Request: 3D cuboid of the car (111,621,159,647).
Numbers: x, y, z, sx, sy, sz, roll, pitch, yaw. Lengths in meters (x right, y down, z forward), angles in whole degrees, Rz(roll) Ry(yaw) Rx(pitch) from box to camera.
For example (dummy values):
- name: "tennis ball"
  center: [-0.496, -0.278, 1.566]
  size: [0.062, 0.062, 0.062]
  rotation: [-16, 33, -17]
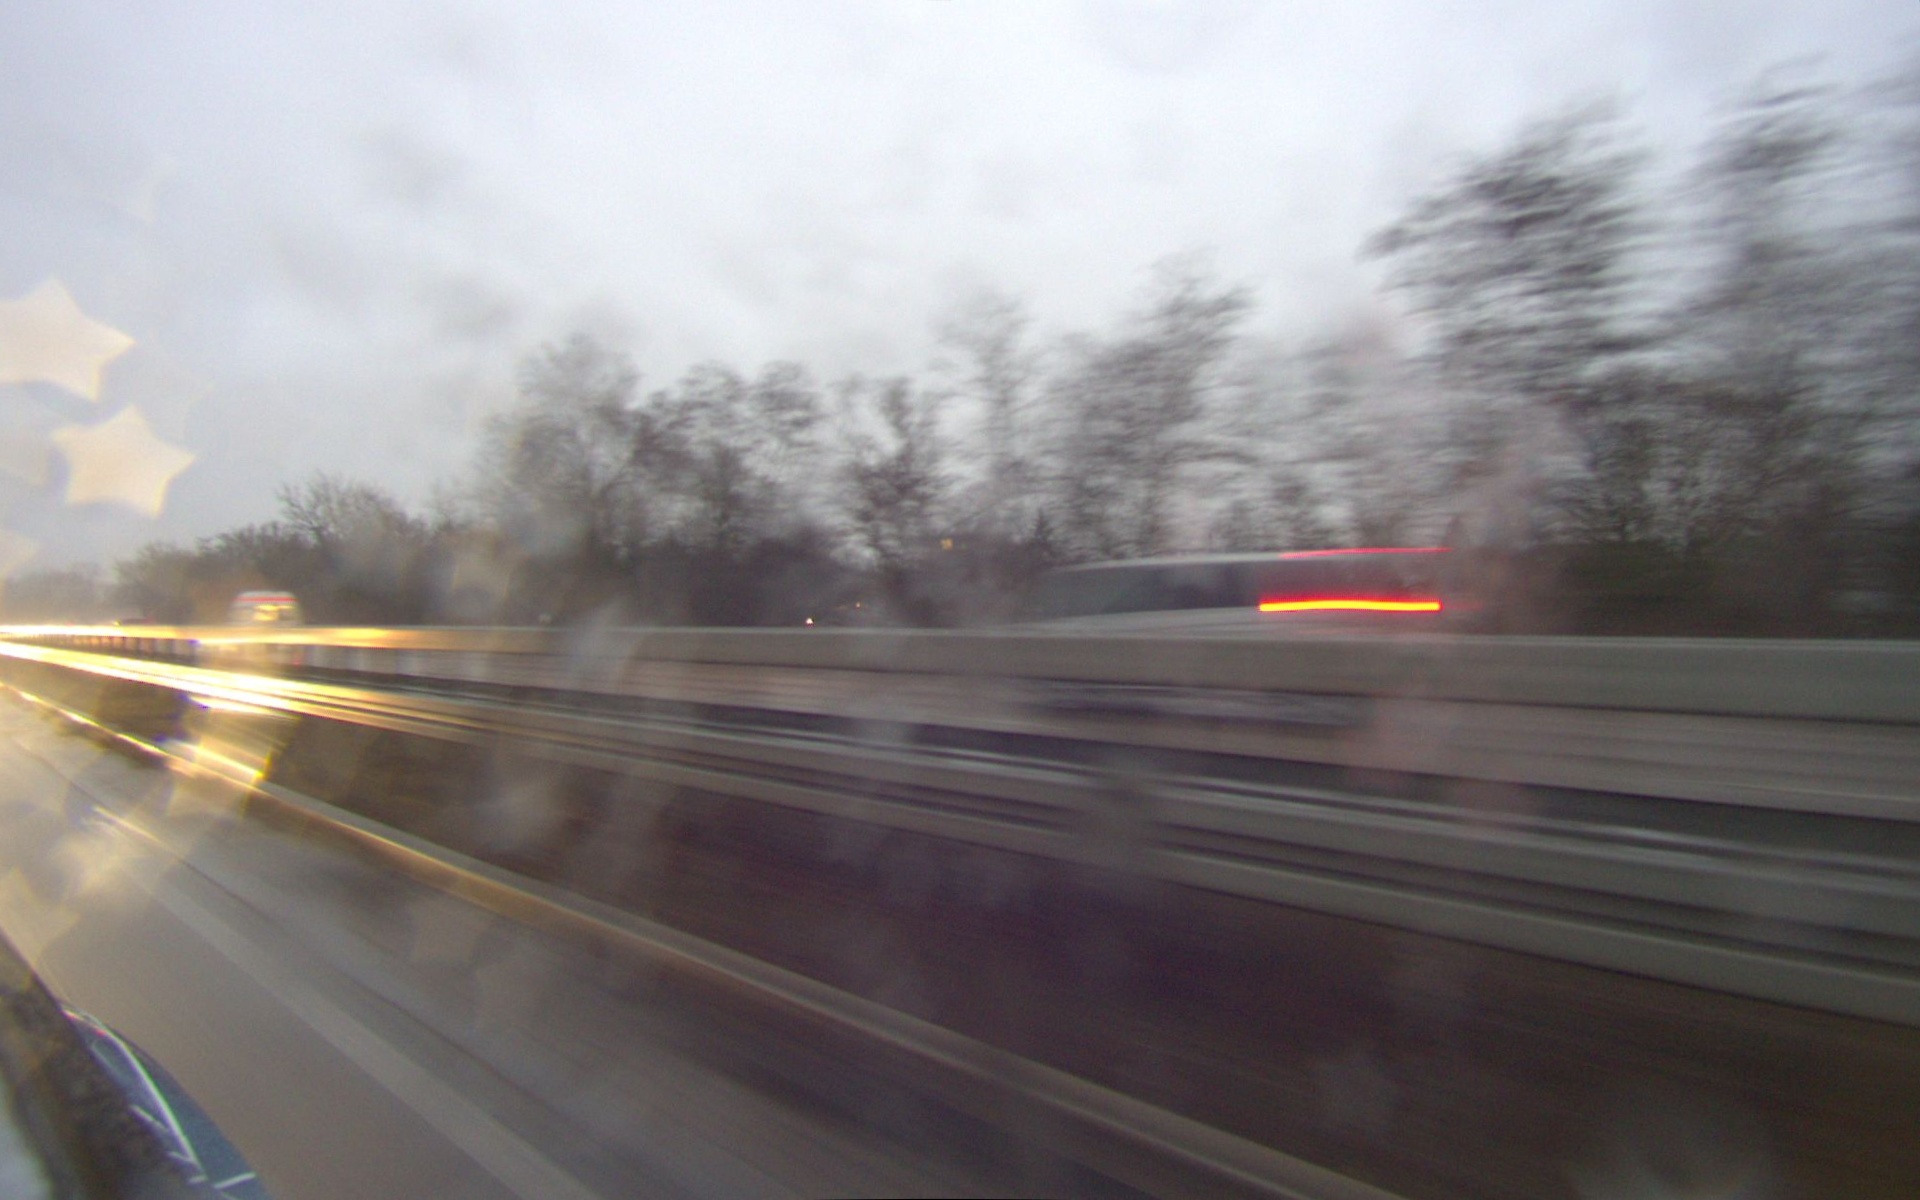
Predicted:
- name: "car"
  center: [-52.329, 2.165, 64.173]
  size: [4.304, 1.540, 1.825]
  rotation: [-2, -1, 44]

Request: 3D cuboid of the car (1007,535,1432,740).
- name: "car"
  center: [2.937, 0.375, 12.013]
  size: [4.532, 1.988, 1.916]
  rotation: [0, 0, 39]

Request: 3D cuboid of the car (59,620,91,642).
- name: "car"
  center: [-83.528, 2.931, 95.506]
  size: [4.304, 1.929, 1.825]
  rotation: [-2, -1, 44]

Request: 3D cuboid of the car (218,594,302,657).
- name: "car"
  center: [-29.400, 1.067, 42.414]
  size: [5.417, 2.455, 1.825]
  rotation: [-2, -1, 44]
